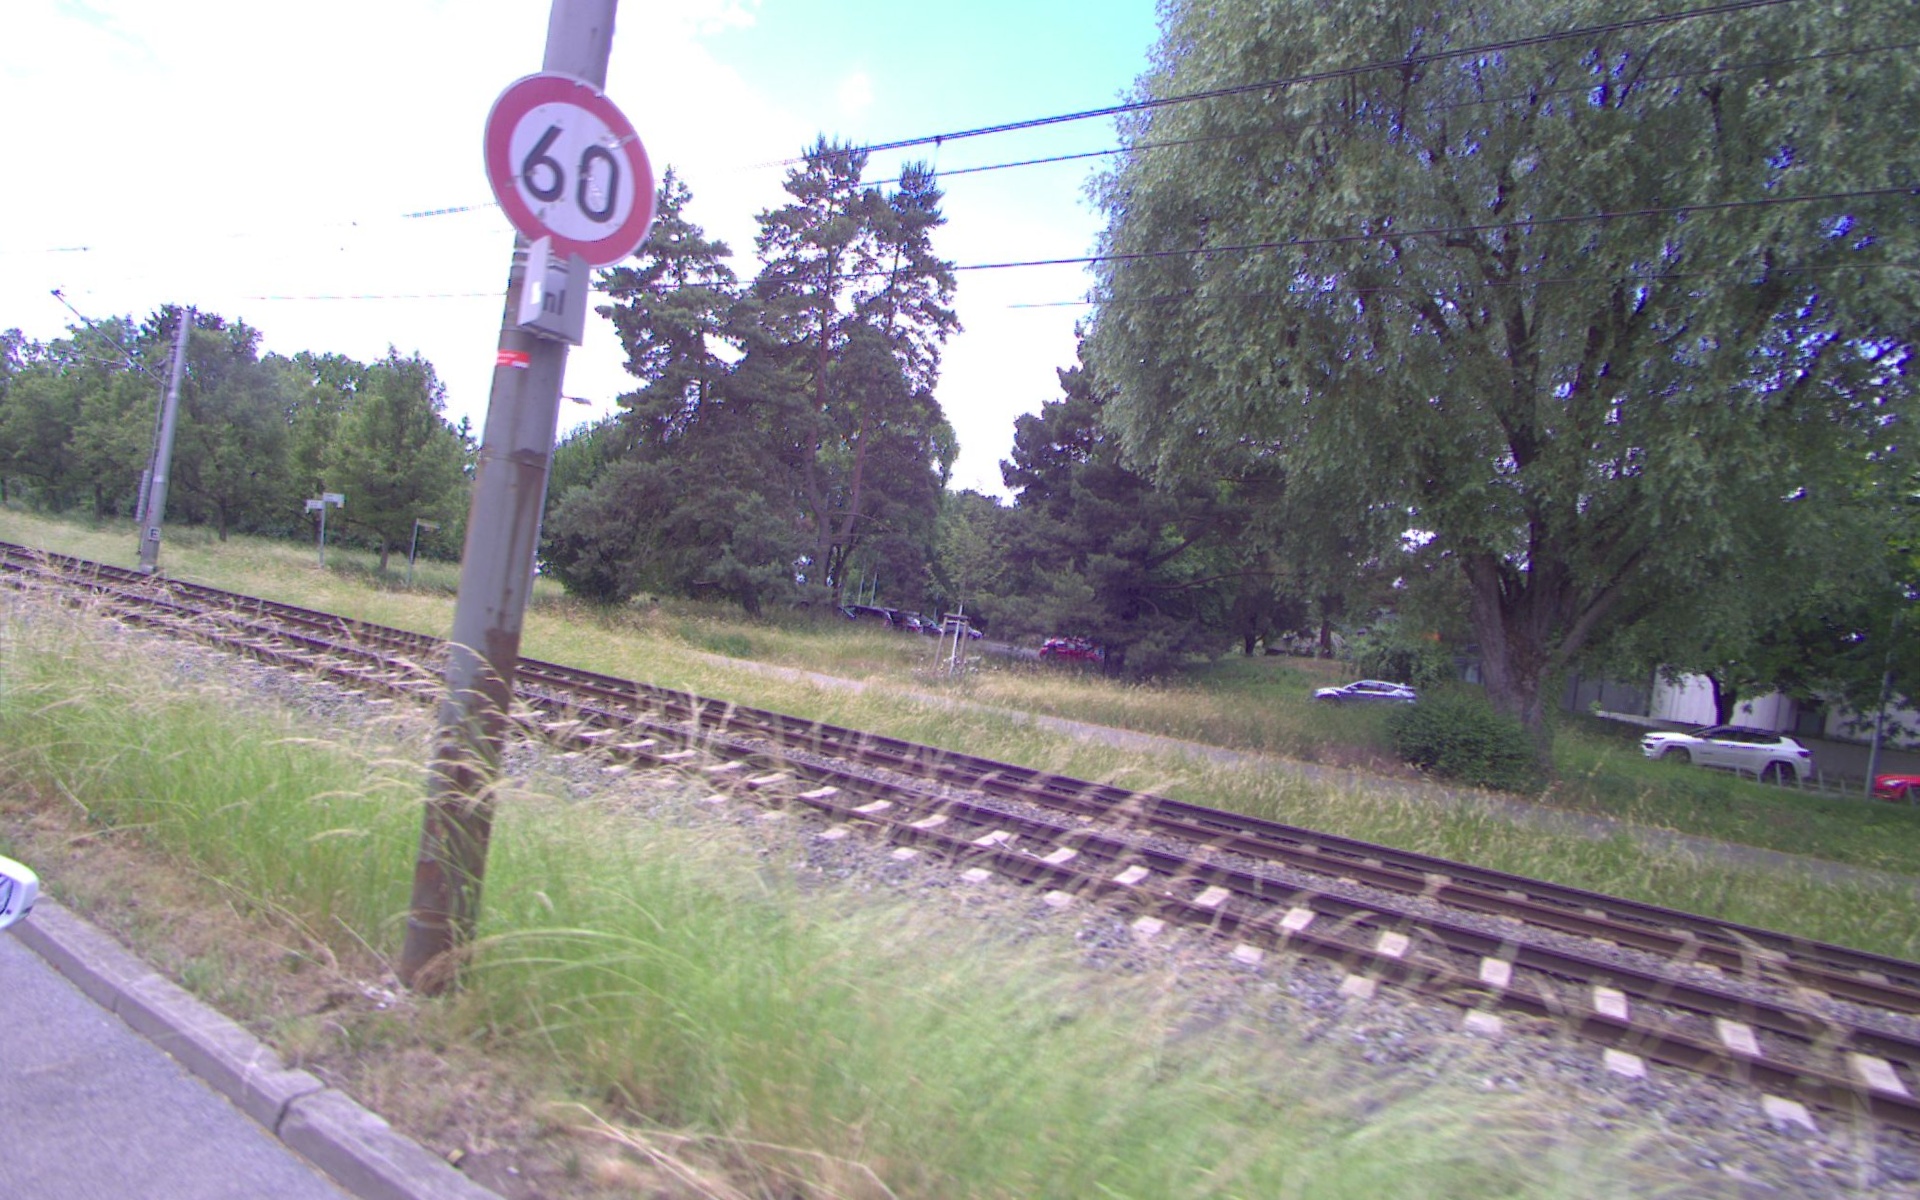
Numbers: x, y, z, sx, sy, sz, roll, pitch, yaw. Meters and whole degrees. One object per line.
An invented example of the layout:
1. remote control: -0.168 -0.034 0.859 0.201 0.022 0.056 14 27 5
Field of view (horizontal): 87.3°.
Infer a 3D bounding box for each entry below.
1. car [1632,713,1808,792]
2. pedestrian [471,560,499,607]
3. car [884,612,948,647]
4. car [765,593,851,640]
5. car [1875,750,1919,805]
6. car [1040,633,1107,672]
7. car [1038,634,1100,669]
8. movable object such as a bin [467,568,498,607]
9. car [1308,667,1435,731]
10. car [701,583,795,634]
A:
1. car: 24.200 4.844 32.268 4.159 1.719 1.998 7 -3 32
2. pedestrian: -18.008 -0.630 38.153 0.648 1.686 0.955 8 -1 -17
3. car: -3.018 2.041 69.662 3.924 1.833 2.002 8 -1 6
4. car: -7.962 0.872 52.690 3.925 1.824 1.751 8 -1 19
5. car: 29.339 5.424 29.014 3.934 1.459 1.998 7 -2 32
6. car: 6.831 3.189 60.790 3.743 1.753 1.833 8 -2 6
7. car: 7.090 3.362 65.561 3.743 1.753 1.833 8 -2 6
8. movable object such as a bin: -17.510 -0.460 36.906 0.650 1.325 1.637 8 -1 -17
9. car: 15.415 3.690 37.744 3.936 1.719 1.997 7 -3 34
10. car: -10.224 0.410 48.612 3.925 1.824 1.751 8 -1 19
